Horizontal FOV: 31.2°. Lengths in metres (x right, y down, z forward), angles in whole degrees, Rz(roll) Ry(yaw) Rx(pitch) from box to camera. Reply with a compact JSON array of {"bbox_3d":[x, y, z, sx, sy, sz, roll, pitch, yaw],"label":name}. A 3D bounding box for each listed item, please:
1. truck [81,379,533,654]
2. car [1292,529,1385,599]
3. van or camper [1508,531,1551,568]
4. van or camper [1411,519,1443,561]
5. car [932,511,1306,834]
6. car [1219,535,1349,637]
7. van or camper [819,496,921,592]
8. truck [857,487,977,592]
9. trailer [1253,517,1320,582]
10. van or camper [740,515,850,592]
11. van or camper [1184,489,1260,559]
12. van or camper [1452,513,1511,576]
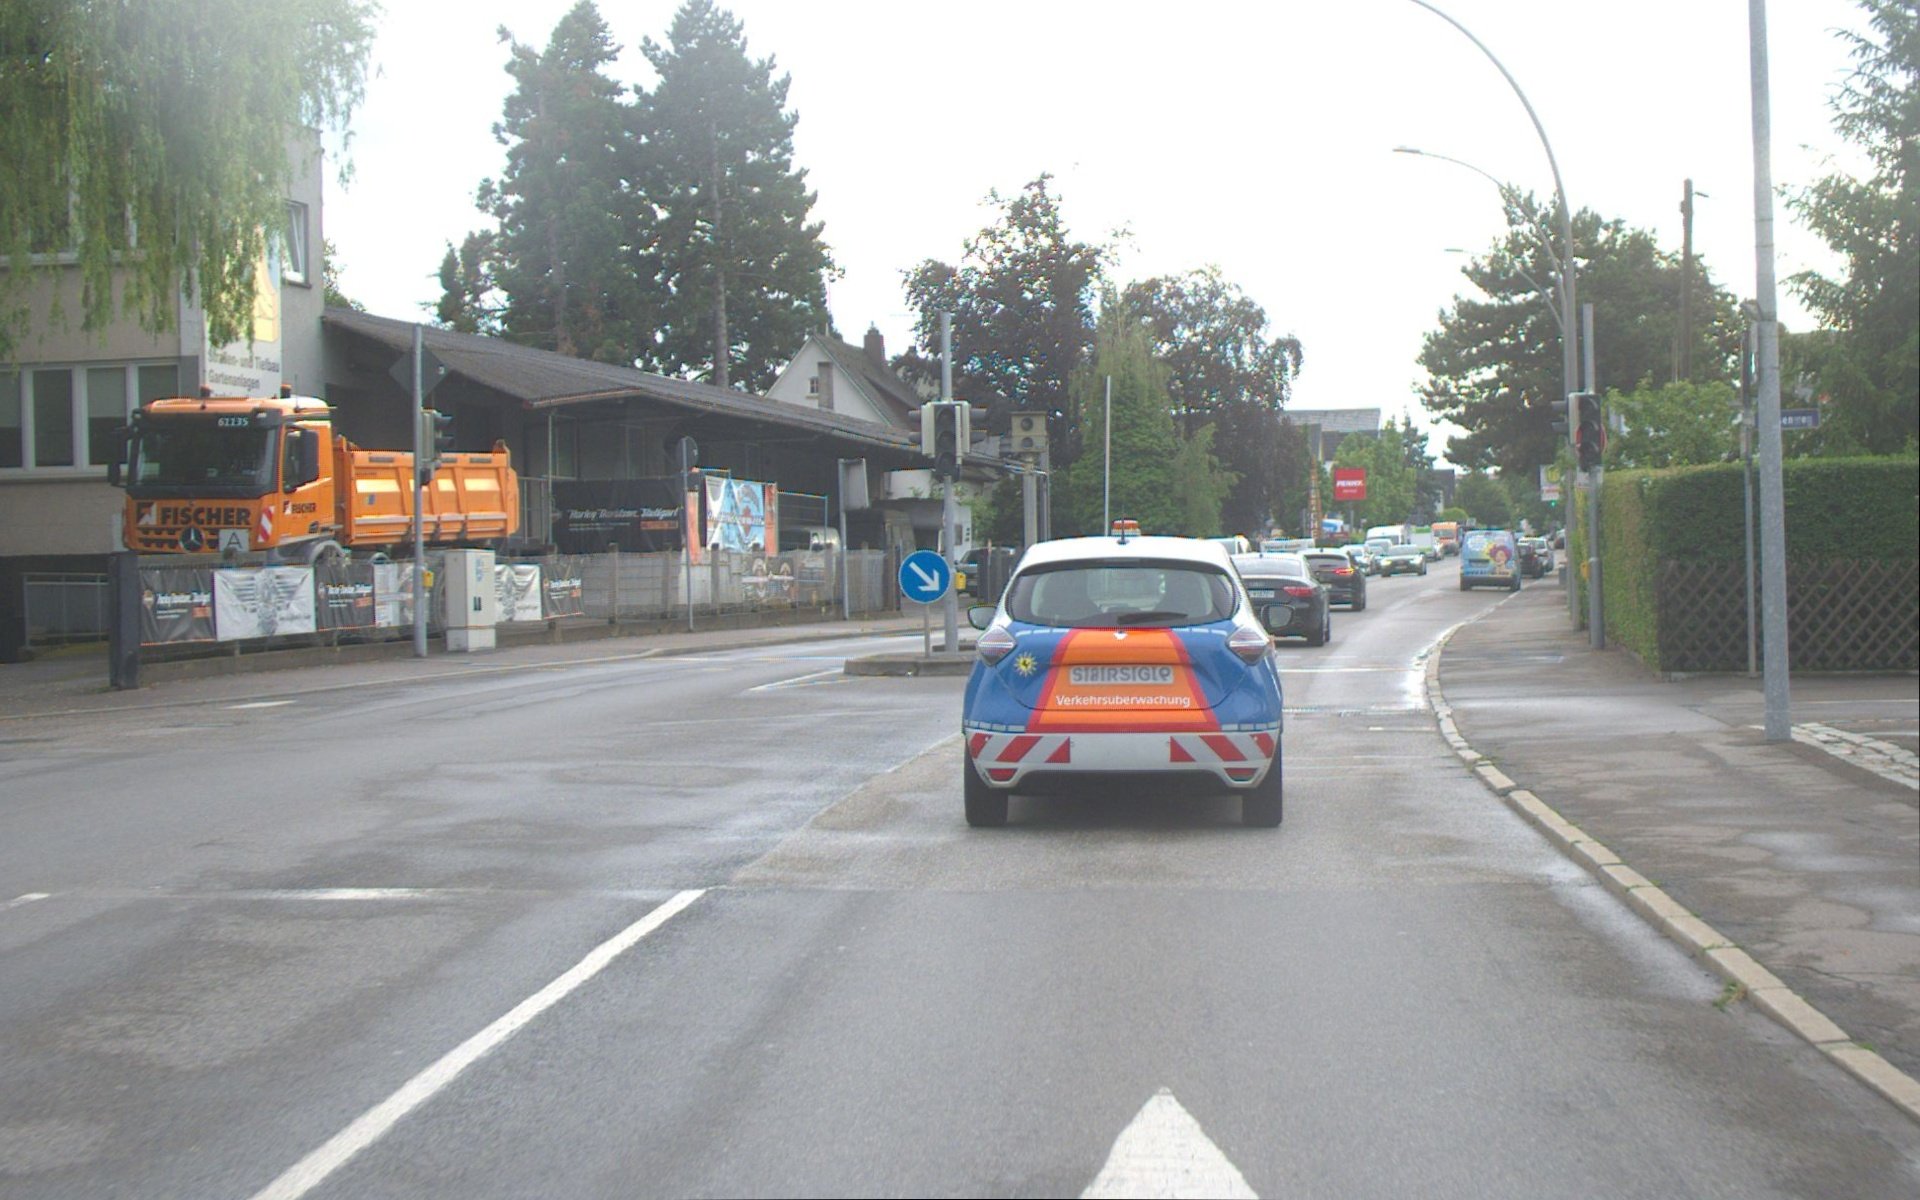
[{"bbox_3d":[-8.904,-1.006,48.303,2.699,3.400,9.065,2,-1,13],"label":"truck"},{"bbox_3d":[8.542,-0.801,77.837,1.994,1.415,3.999,2,-1,6],"label":"car"},{"bbox_3d":[27.825,-2.479,167.991,1.994,1.778,3.999,-1,1,9],"label":"van or camper"},{"bbox_3d":[31.235,-4.003,229.909,1.994,2.765,5.438,-1,1,9],"label":"van or camper"},{"bbox_3d":[0.938,0.333,19.698,1.889,1.626,4.000,-1,1,3],"label":"car"},{"bbox_3d":[4.738,-0.175,50.733,1.721,1.371,3.933,2,-1,3],"label":"car"},{"bbox_3d":[-2.477,-1.541,96.179,1.860,2.429,5.231,2,-1,9],"label":"van or camper"},{"bbox_3d":[-1.230,-1.749,101.764,2.395,2.917,5.954,2,0,10],"label":"truck"},{"bbox_3d":[12.999,-2.020,136.569,2.221,2.006,4.436,-6,4,9],"label":"trailer"},{"bbox_3d":[-4.266,-1.200,89.510,1.994,1.902,4.470,2,1,8],"label":"van or camper"},{"bbox_3d":[8.437,-2.422,110.394,1.891,2.007,5.094,2,-1,10],"label":"van or camper"},{"bbox_3d":[16.227,-1.732,106.923,1.755,1.876,3.999,-1,1,9],"label":"van or camper"}]
